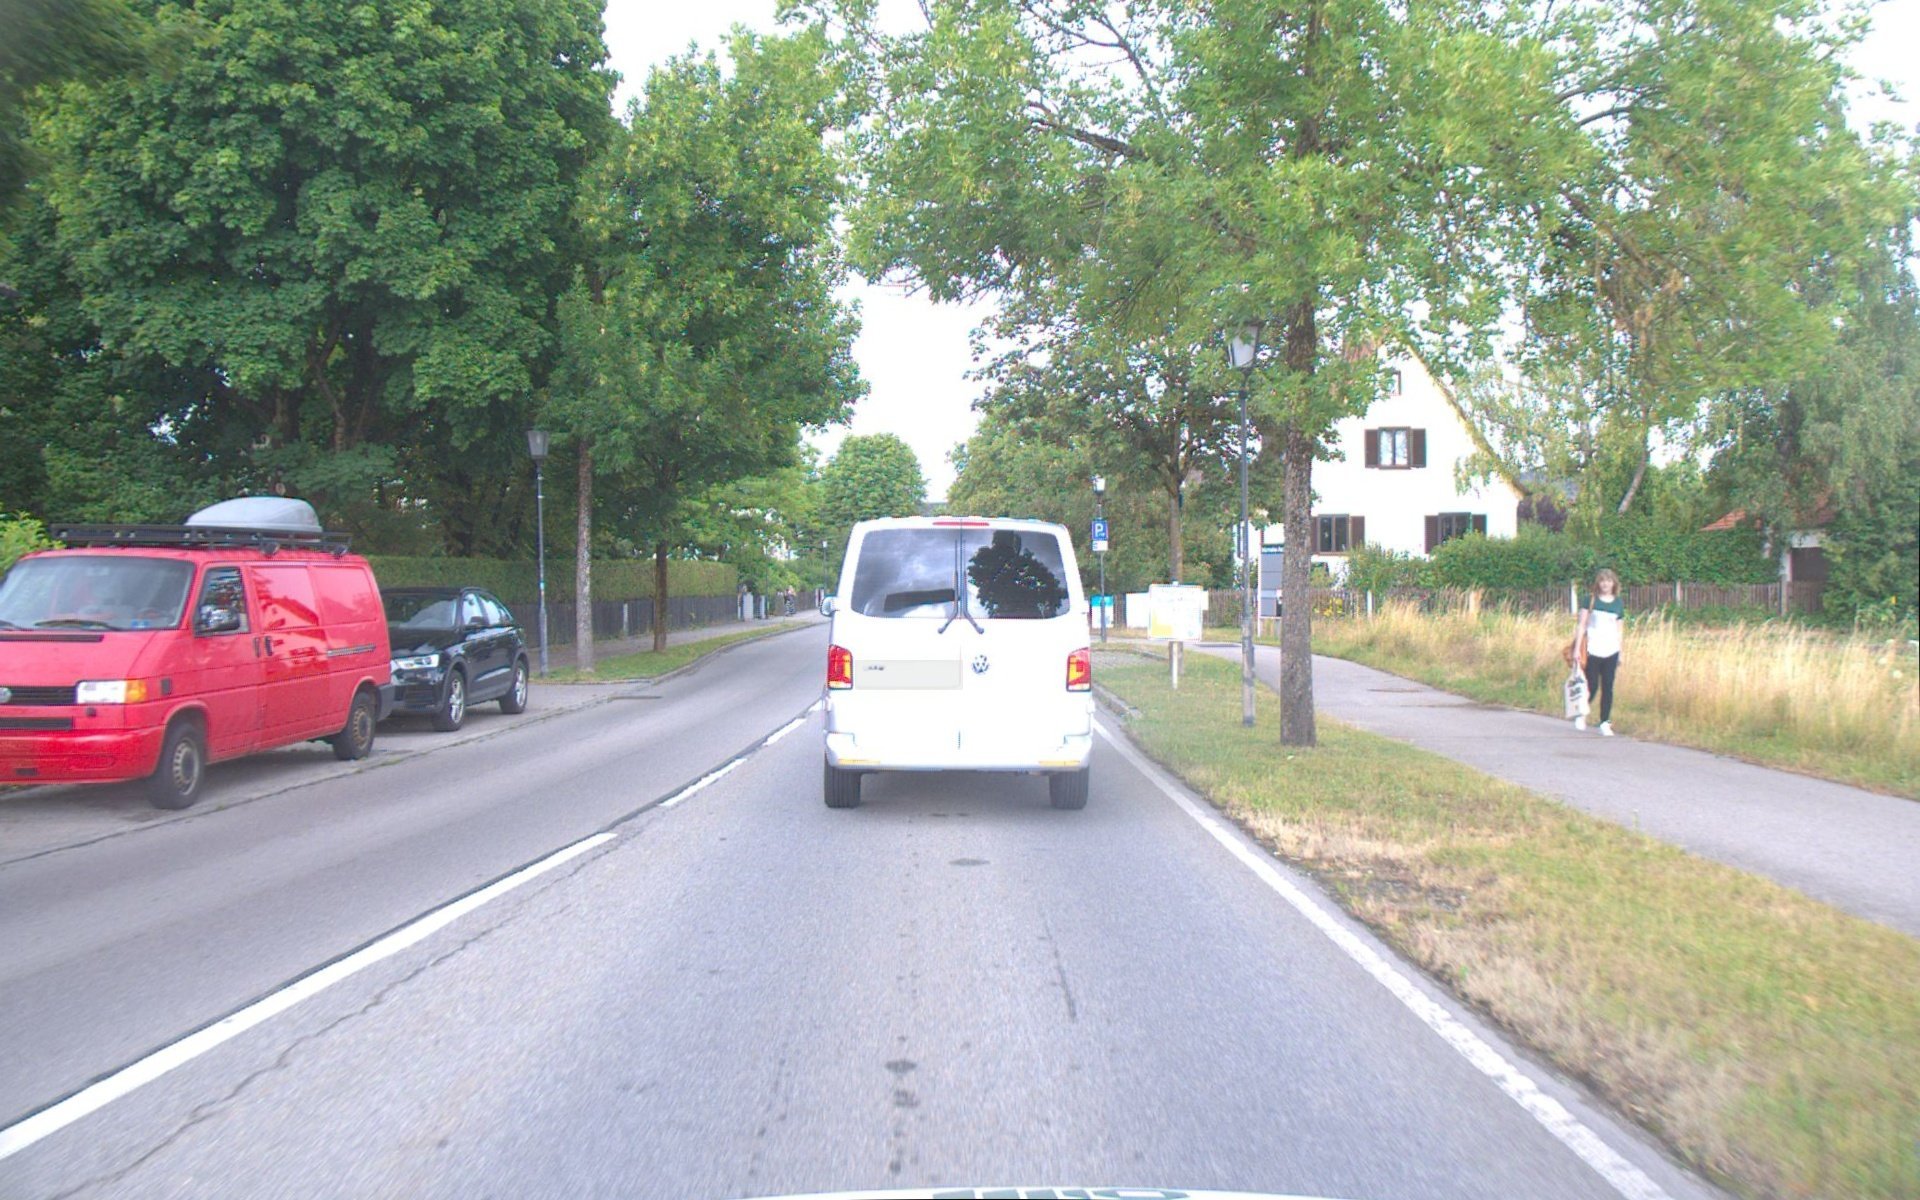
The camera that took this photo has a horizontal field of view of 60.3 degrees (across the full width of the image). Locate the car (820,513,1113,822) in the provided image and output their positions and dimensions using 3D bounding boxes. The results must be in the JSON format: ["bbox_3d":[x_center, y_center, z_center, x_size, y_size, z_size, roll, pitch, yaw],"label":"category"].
[{"bbox_3d":[0.034,0.419,12.484,1.849,1.945,4.000,0,0,0],"label":"car"}]

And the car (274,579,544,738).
[{"bbox_3d":[-6.327,0.591,19.515,1.735,1.626,4.238,1,1,0],"label":"car"}]

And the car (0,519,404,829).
[{"bbox_3d":[-6.393,0.448,13.633,1.792,2.065,5.047,1,1,1],"label":"car"}]

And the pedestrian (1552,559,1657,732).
[{"bbox_3d":[6.837,0.462,17.573,0.820,1.785,0.870,0,0,5],"label":"pedestrian"}]

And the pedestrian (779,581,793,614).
[{"bbox_3d":[-8.532,-0.115,81.166,0.610,1.576,0.522,1,0,-4],"label":"pedestrian"}]
